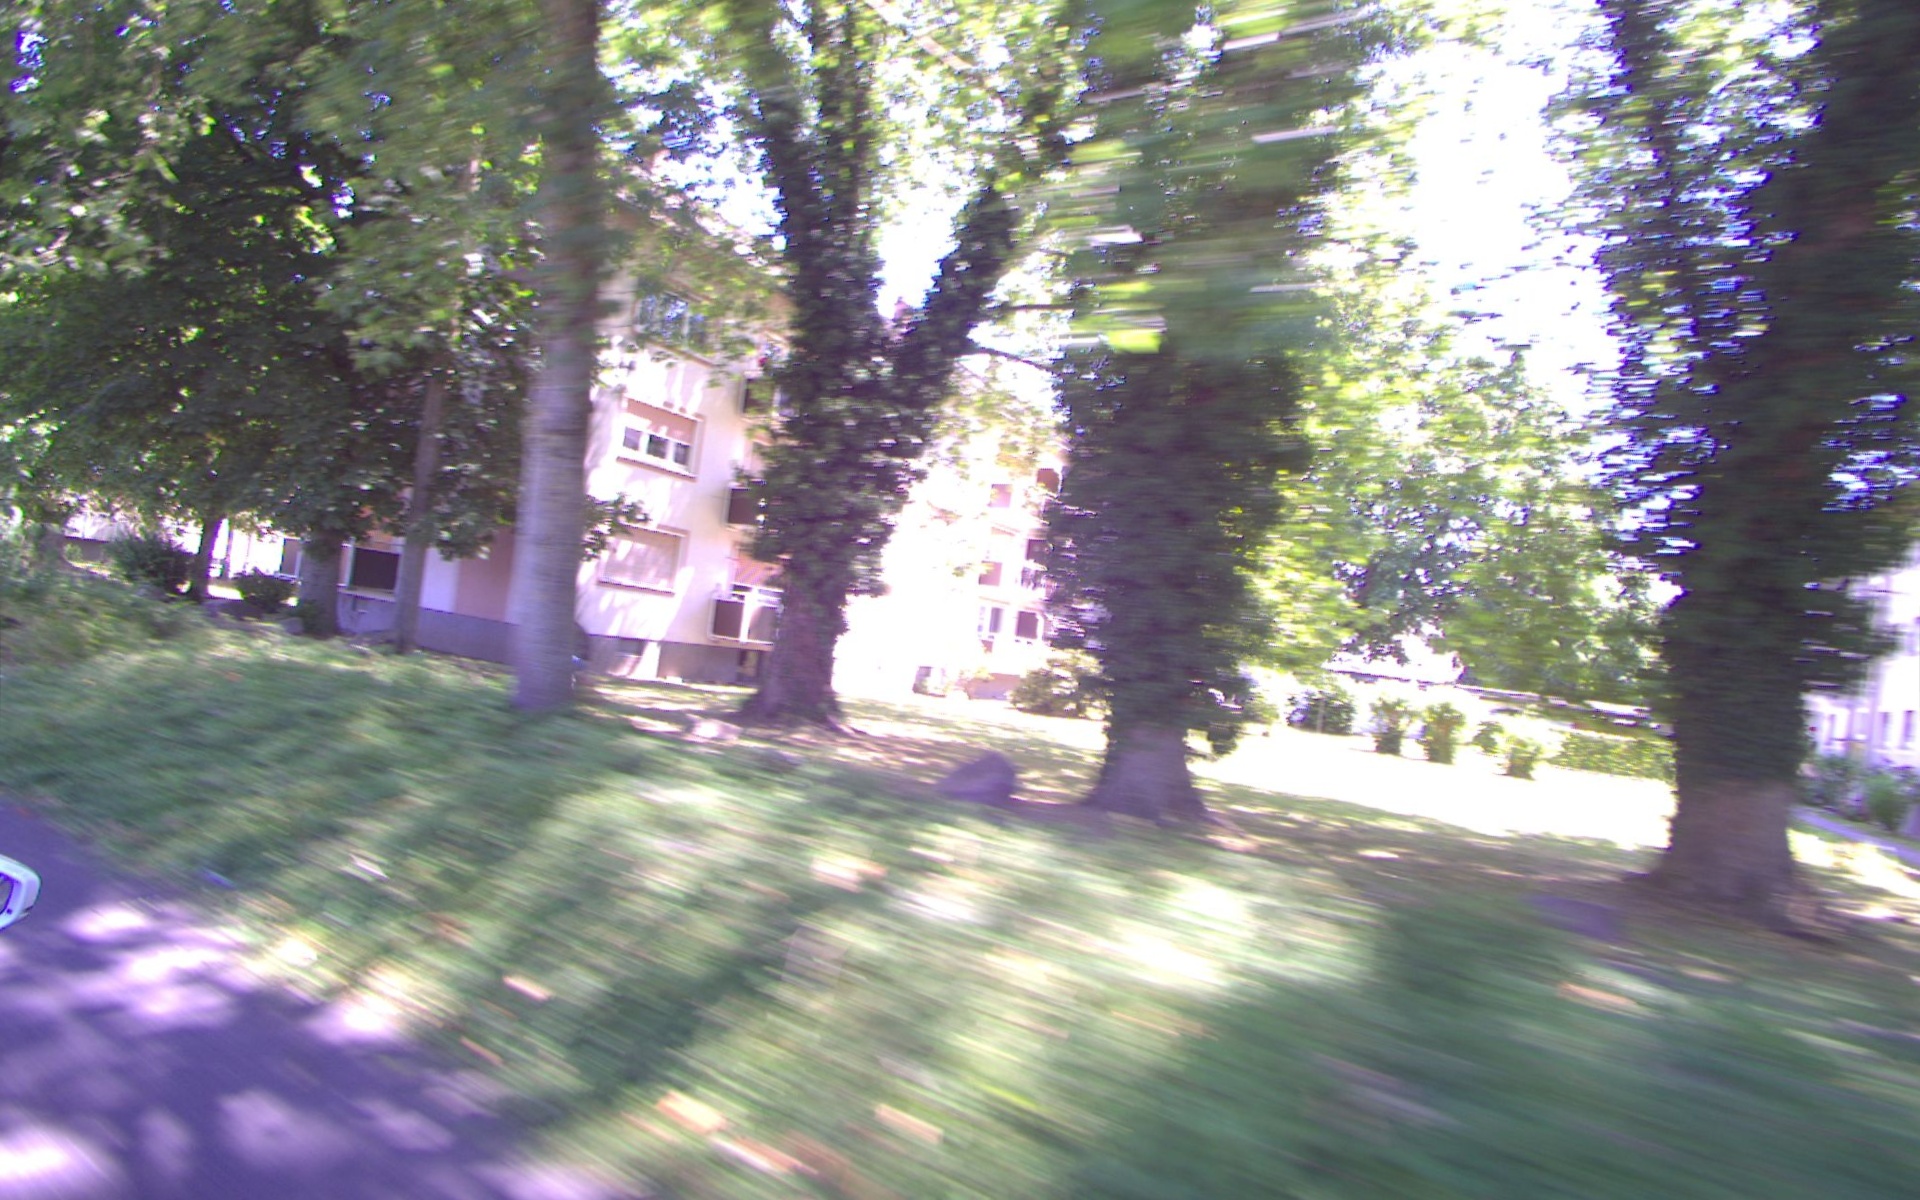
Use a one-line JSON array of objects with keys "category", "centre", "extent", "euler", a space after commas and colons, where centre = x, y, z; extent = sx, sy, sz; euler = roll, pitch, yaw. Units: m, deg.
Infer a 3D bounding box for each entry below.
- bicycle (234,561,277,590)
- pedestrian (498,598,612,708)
[{"category": "bicycle", "centre": [-33.072, -1.152, 47.237], "extent": [2.148, 1.078, 0.724], "euler": [6, -3, 30]}, {"category": "pedestrian", "centre": [-5.482, 0.711, 13.606], "extent": [1.055, 1.307, 0.938], "euler": [6, -2, 43]}]
